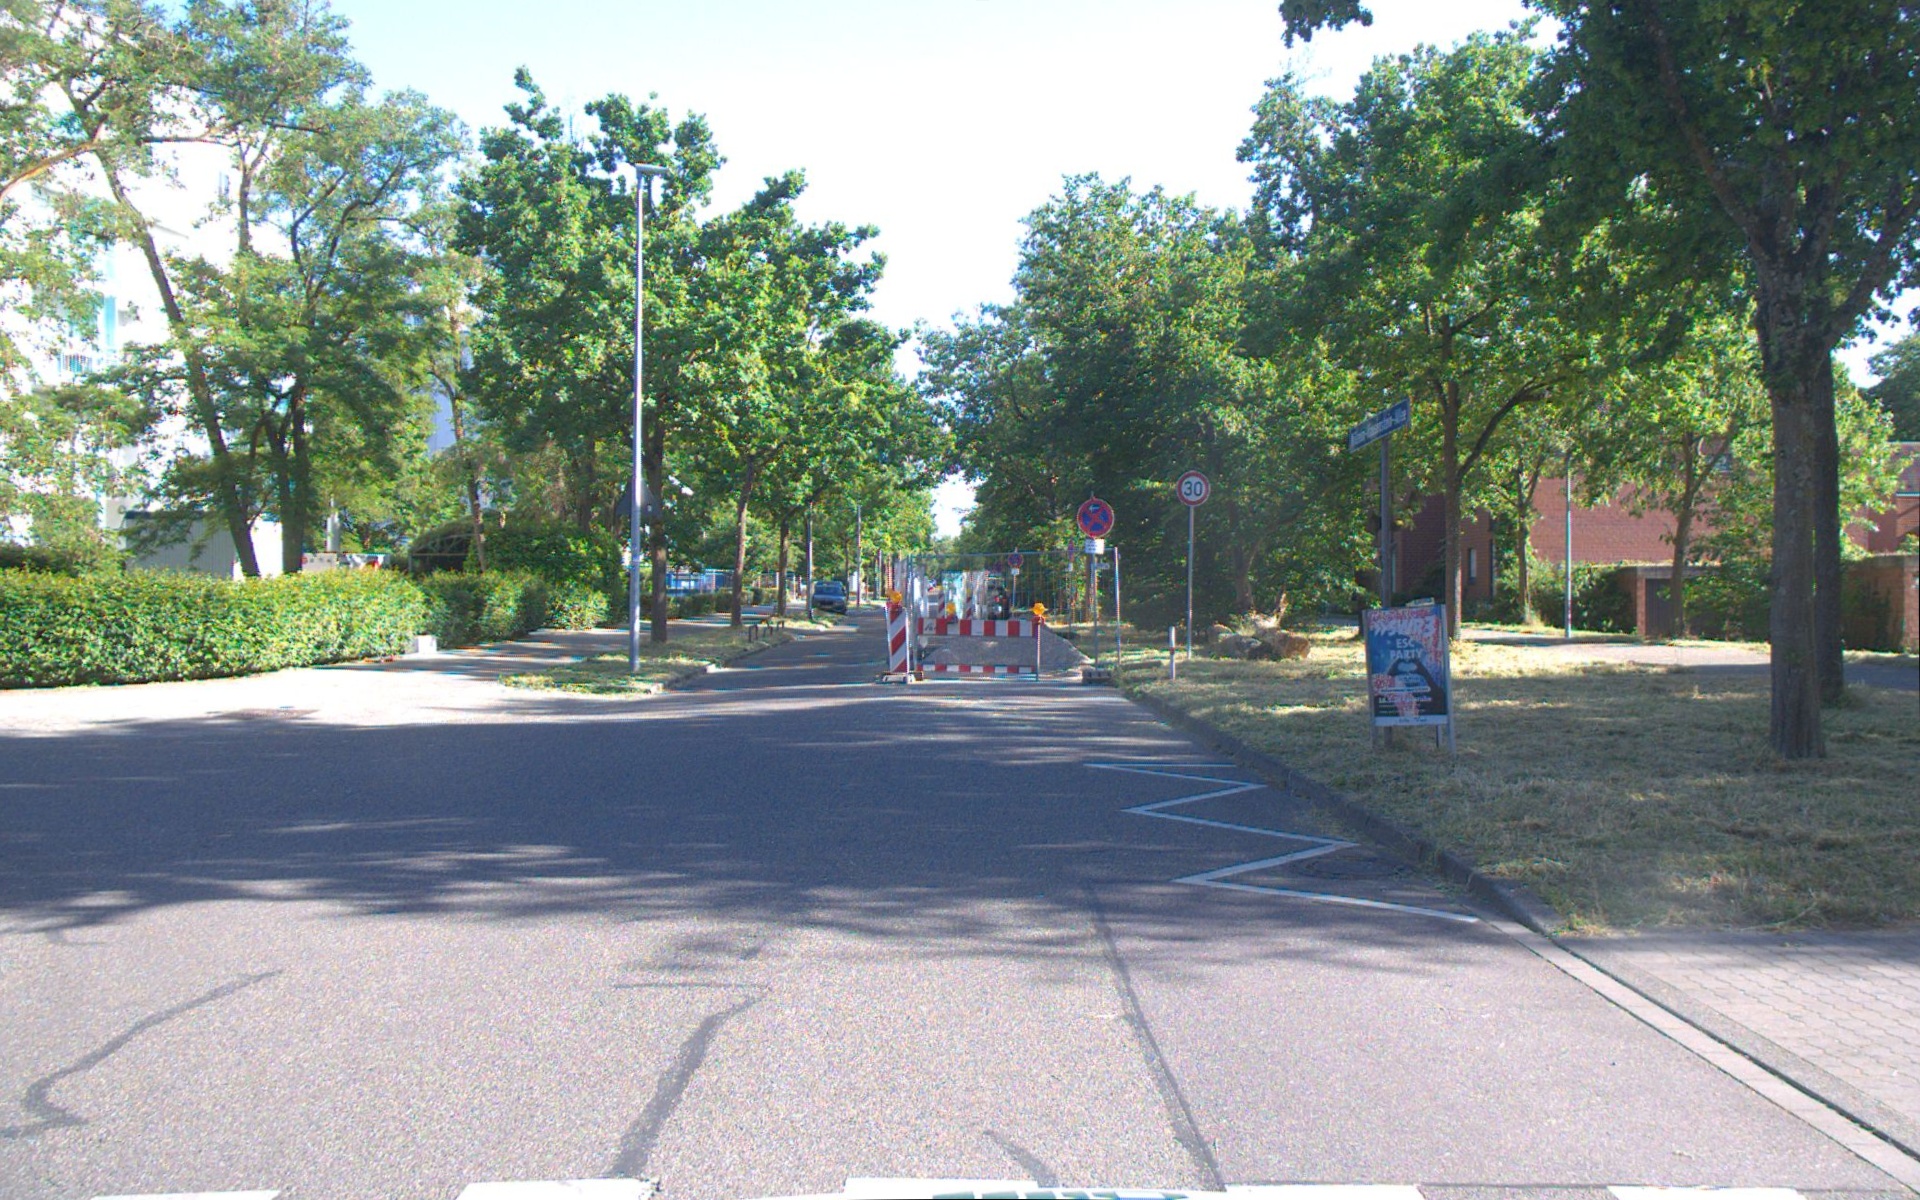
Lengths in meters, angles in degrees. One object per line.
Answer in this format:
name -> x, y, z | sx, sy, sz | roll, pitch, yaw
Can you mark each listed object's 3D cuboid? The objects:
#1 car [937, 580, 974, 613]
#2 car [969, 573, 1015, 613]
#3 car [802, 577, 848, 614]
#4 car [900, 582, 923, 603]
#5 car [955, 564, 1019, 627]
car -> -0.265, -0.207, 90.609 | 1.953, 1.746, 3.999 | 0, 0, -1
car -> 1.428, -0.334, 74.870 | 1.953, 1.746, 3.999 | 0, 0, -1
car -> -6.565, -0.216, 80.913 | 1.953, 1.746, 3.999 | 0, 0, -1
car -> -4.181, -0.674, 143.068 | 1.953, 1.746, 3.999 | 0, 0, -1
car -> 0.832, -0.153, 54.006 | 1.953, 1.966, 3.999 | 0, 0, -1
